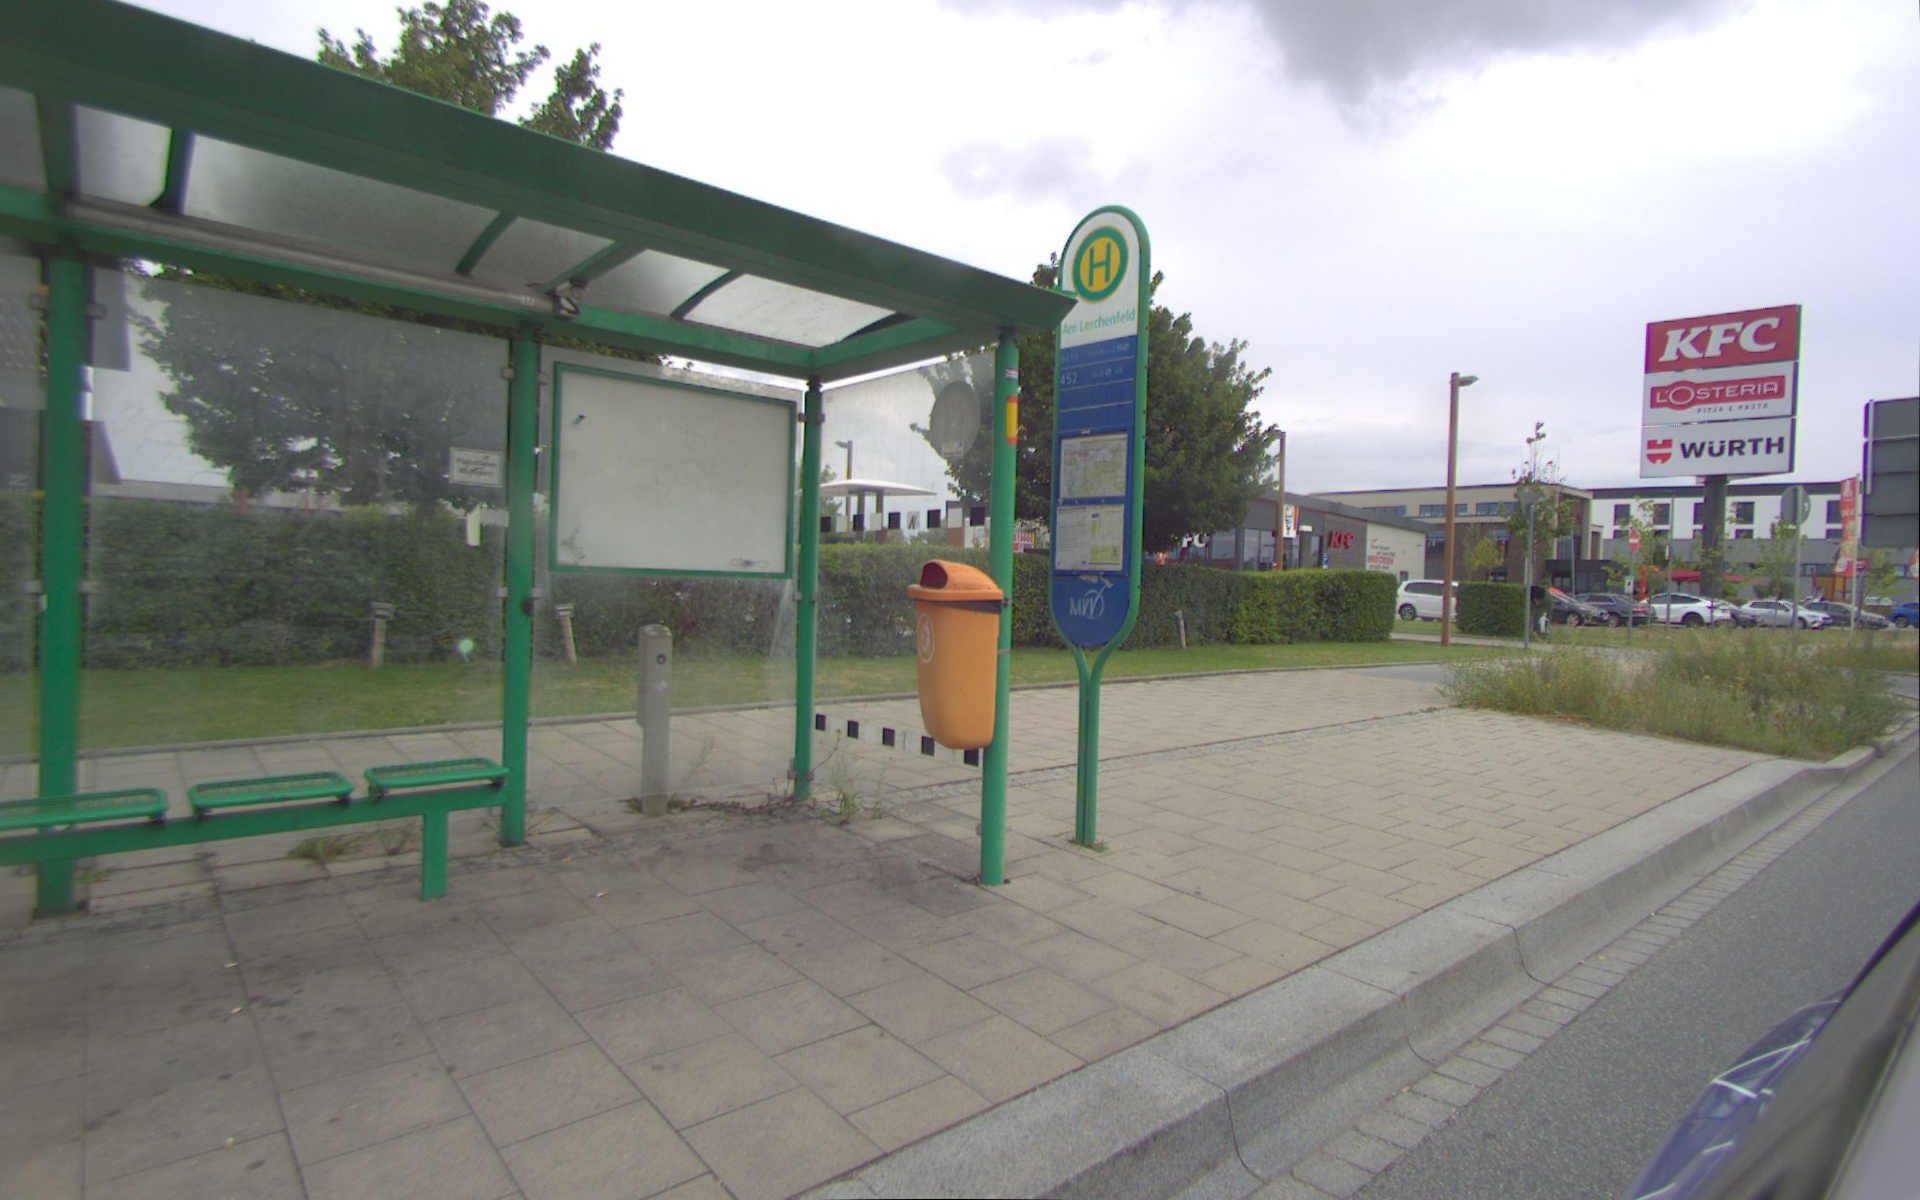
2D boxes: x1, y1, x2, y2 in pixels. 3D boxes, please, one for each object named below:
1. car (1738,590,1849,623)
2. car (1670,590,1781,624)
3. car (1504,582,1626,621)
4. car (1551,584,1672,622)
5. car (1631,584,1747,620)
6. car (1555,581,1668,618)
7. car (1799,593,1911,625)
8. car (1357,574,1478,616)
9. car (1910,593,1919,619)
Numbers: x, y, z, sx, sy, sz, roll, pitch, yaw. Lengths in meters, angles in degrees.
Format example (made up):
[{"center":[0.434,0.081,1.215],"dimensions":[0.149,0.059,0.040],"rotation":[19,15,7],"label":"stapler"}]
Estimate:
[{"center":[42.655,0.320,51.873],"dimensions":[1.809,1.504,4.006],"rotation":[1,1,-28],"label":"car"},{"center":[37.994,0.323,50.321],"dimensions":[1.811,1.504,4.003],"rotation":[1,1,-32],"label":"car"},{"center":[25.480,0.049,42.725],"dimensions":[1.811,1.504,4.004],"rotation":[1,1,-32],"label":"car"},{"center":[28.135,0.111,43.812],"dimensions":[1.811,1.504,4.004],"rotation":[1,1,-32],"label":"car"},{"center":[34.068,0.090,47.393],"dimensions":[1.811,1.541,4.004],"rotation":[1,1,-32],"label":"car"},{"center":[29.933,-0.026,46.624],"dimensions":[1.811,1.631,4.002],"rotation":[0,0,-32],"label":"car"},{"center":[47.152,0.468,53.413],"dimensions":[1.809,1.504,4.006],"rotation":[1,1,-28],"label":"car"},{"center":[18.191,-0.222,40.328],"dimensions":[1.814,1.547,3.996],"rotation":[1,1,-39],"label":"car"},{"center":[56.246,0.362,56.674],"dimensions":[1.809,1.505,4.007],"rotation":[0,0,-23],"label":"car"}]
